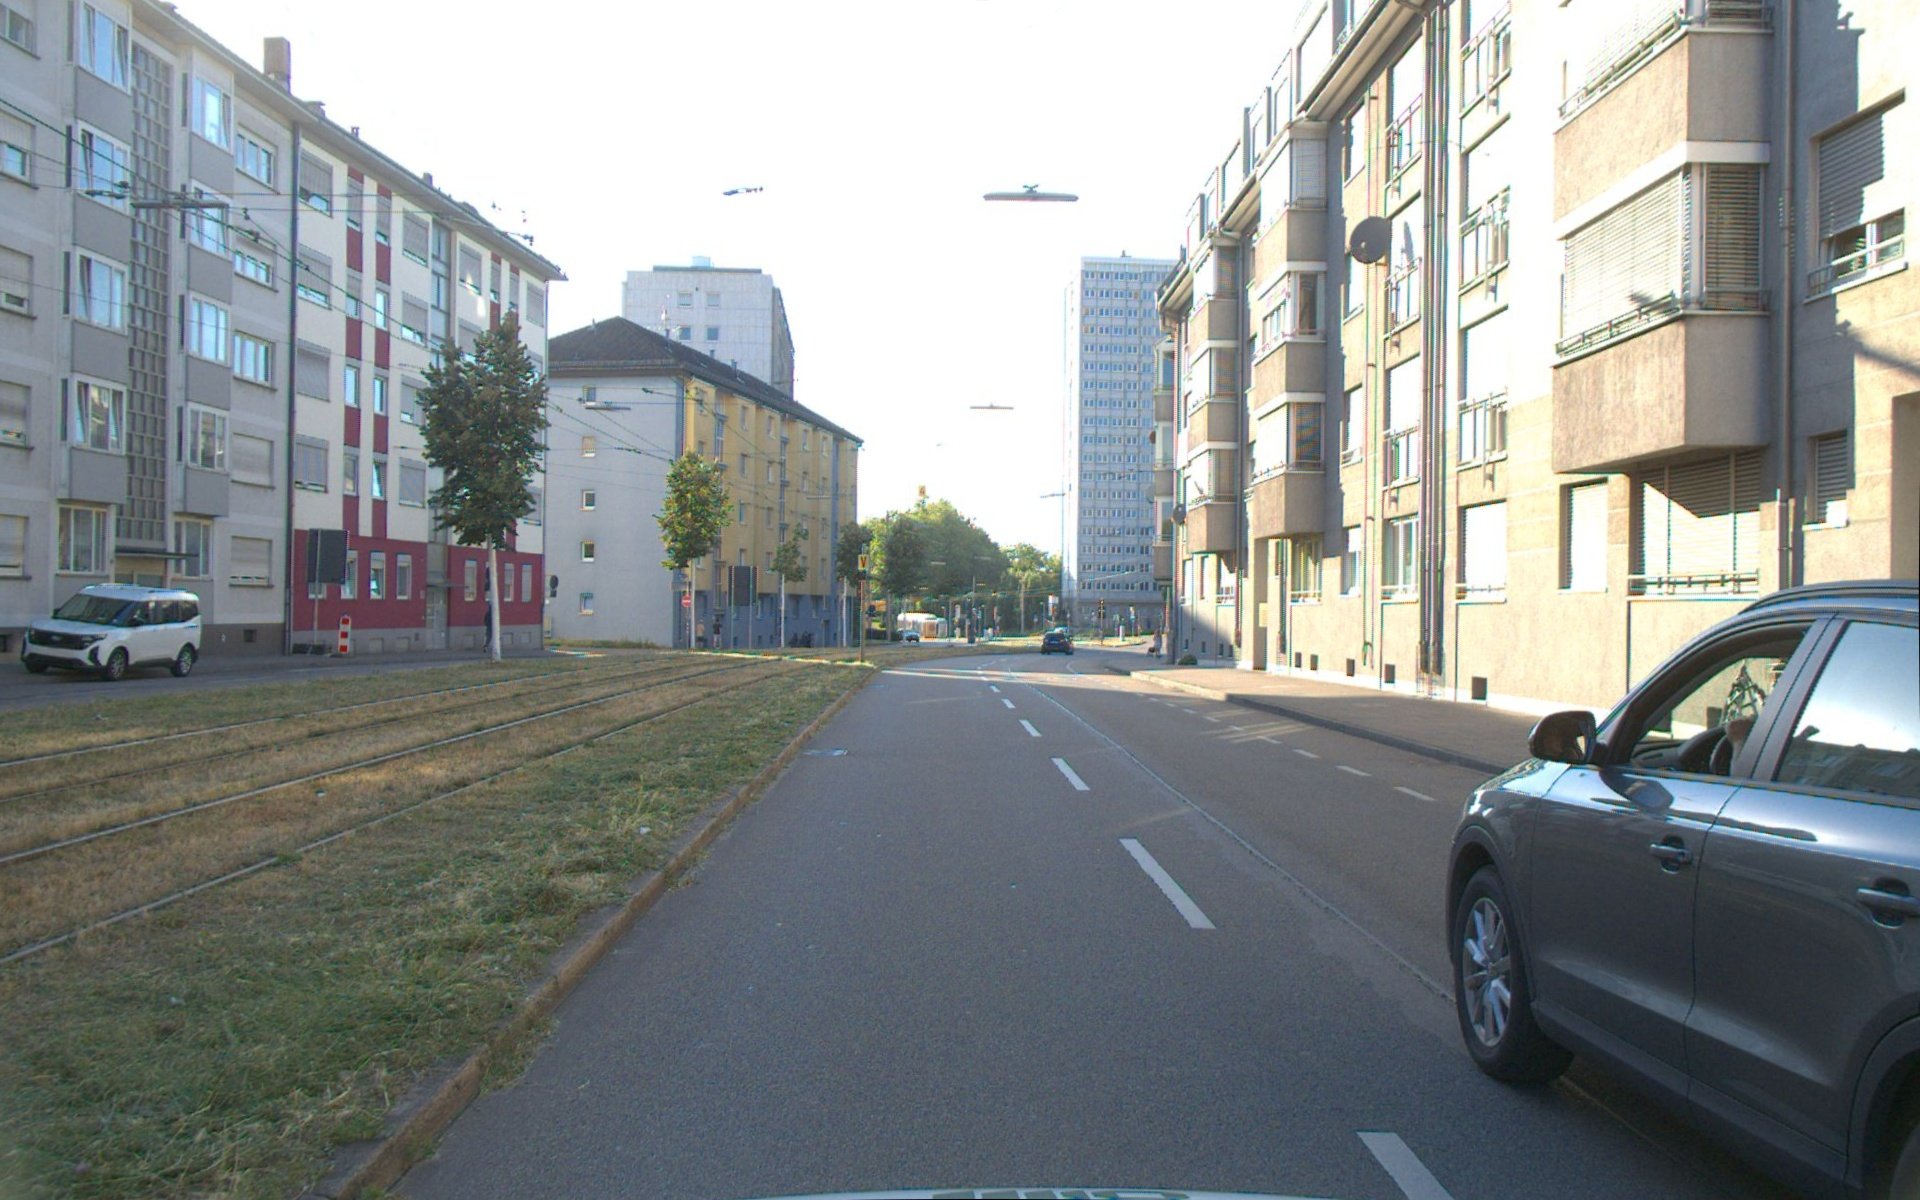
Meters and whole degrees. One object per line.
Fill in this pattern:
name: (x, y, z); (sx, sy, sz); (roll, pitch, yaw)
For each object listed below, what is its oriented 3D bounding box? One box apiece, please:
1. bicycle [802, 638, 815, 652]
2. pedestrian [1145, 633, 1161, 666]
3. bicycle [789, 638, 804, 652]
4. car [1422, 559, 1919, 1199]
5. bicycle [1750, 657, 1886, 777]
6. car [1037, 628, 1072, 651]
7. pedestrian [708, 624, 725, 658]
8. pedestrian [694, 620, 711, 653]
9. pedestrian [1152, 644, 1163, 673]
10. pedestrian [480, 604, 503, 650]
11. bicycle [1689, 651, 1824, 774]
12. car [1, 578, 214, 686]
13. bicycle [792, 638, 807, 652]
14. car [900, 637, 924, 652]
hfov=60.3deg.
bicycle: (-10.442, 3.111, 114.096); (0.418, 0.977, 1.913); (0, -1, 11)
pedestrian: (10.666, 2.731, 91.246); (0.812, 1.803, 0.996); (0, -1, 9)
bicycle: (-10.917, 3.006, 110.502); (0.418, 0.941, 1.913); (4, -1, 11)
car: (2.601, 0.745, 4.002); (1.731, 1.615, 4.066); (0, 0, -2)
bicycle: (7.870, 1.042, 15.238); (0.273, 0.988, 1.729); (-2, -1, -2)
car: (6.024, 2.484, 105.038); (1.734, 1.447, 3.859); (0, -1, 11)
pedestrian: (-13.444, 2.256, 91.358); (0.580, 1.804, 0.886); (5, 0, 9)
pedestrian: (-14.209, 2.013, 91.317); (0.603, 1.724, 0.707); (5, 0, 9)
pedestrian: (9.334, 2.754, 78.164); (0.503, 1.368, 0.609); (-1, -2, 5)
pedestrian: (-17.858, 1.029, 63.037); (0.600, 1.719, 0.792); (0, -1, 4)
bicycle: (7.500, 1.029, 15.641); (0.352, 1.050, 1.729); (-2, -1, -2)
car: (-17.571, 0.657, 34.365); (1.829, 1.860, 4.422); (7, -1, 2)
bicycle: (-10.840, 3.028, 111.755); (0.418, 0.941, 1.913); (4, -1, 11)
car: (-5.271, 4.938, 182.842); (1.755, 1.495, 4.799); (-2, -2, 8)
